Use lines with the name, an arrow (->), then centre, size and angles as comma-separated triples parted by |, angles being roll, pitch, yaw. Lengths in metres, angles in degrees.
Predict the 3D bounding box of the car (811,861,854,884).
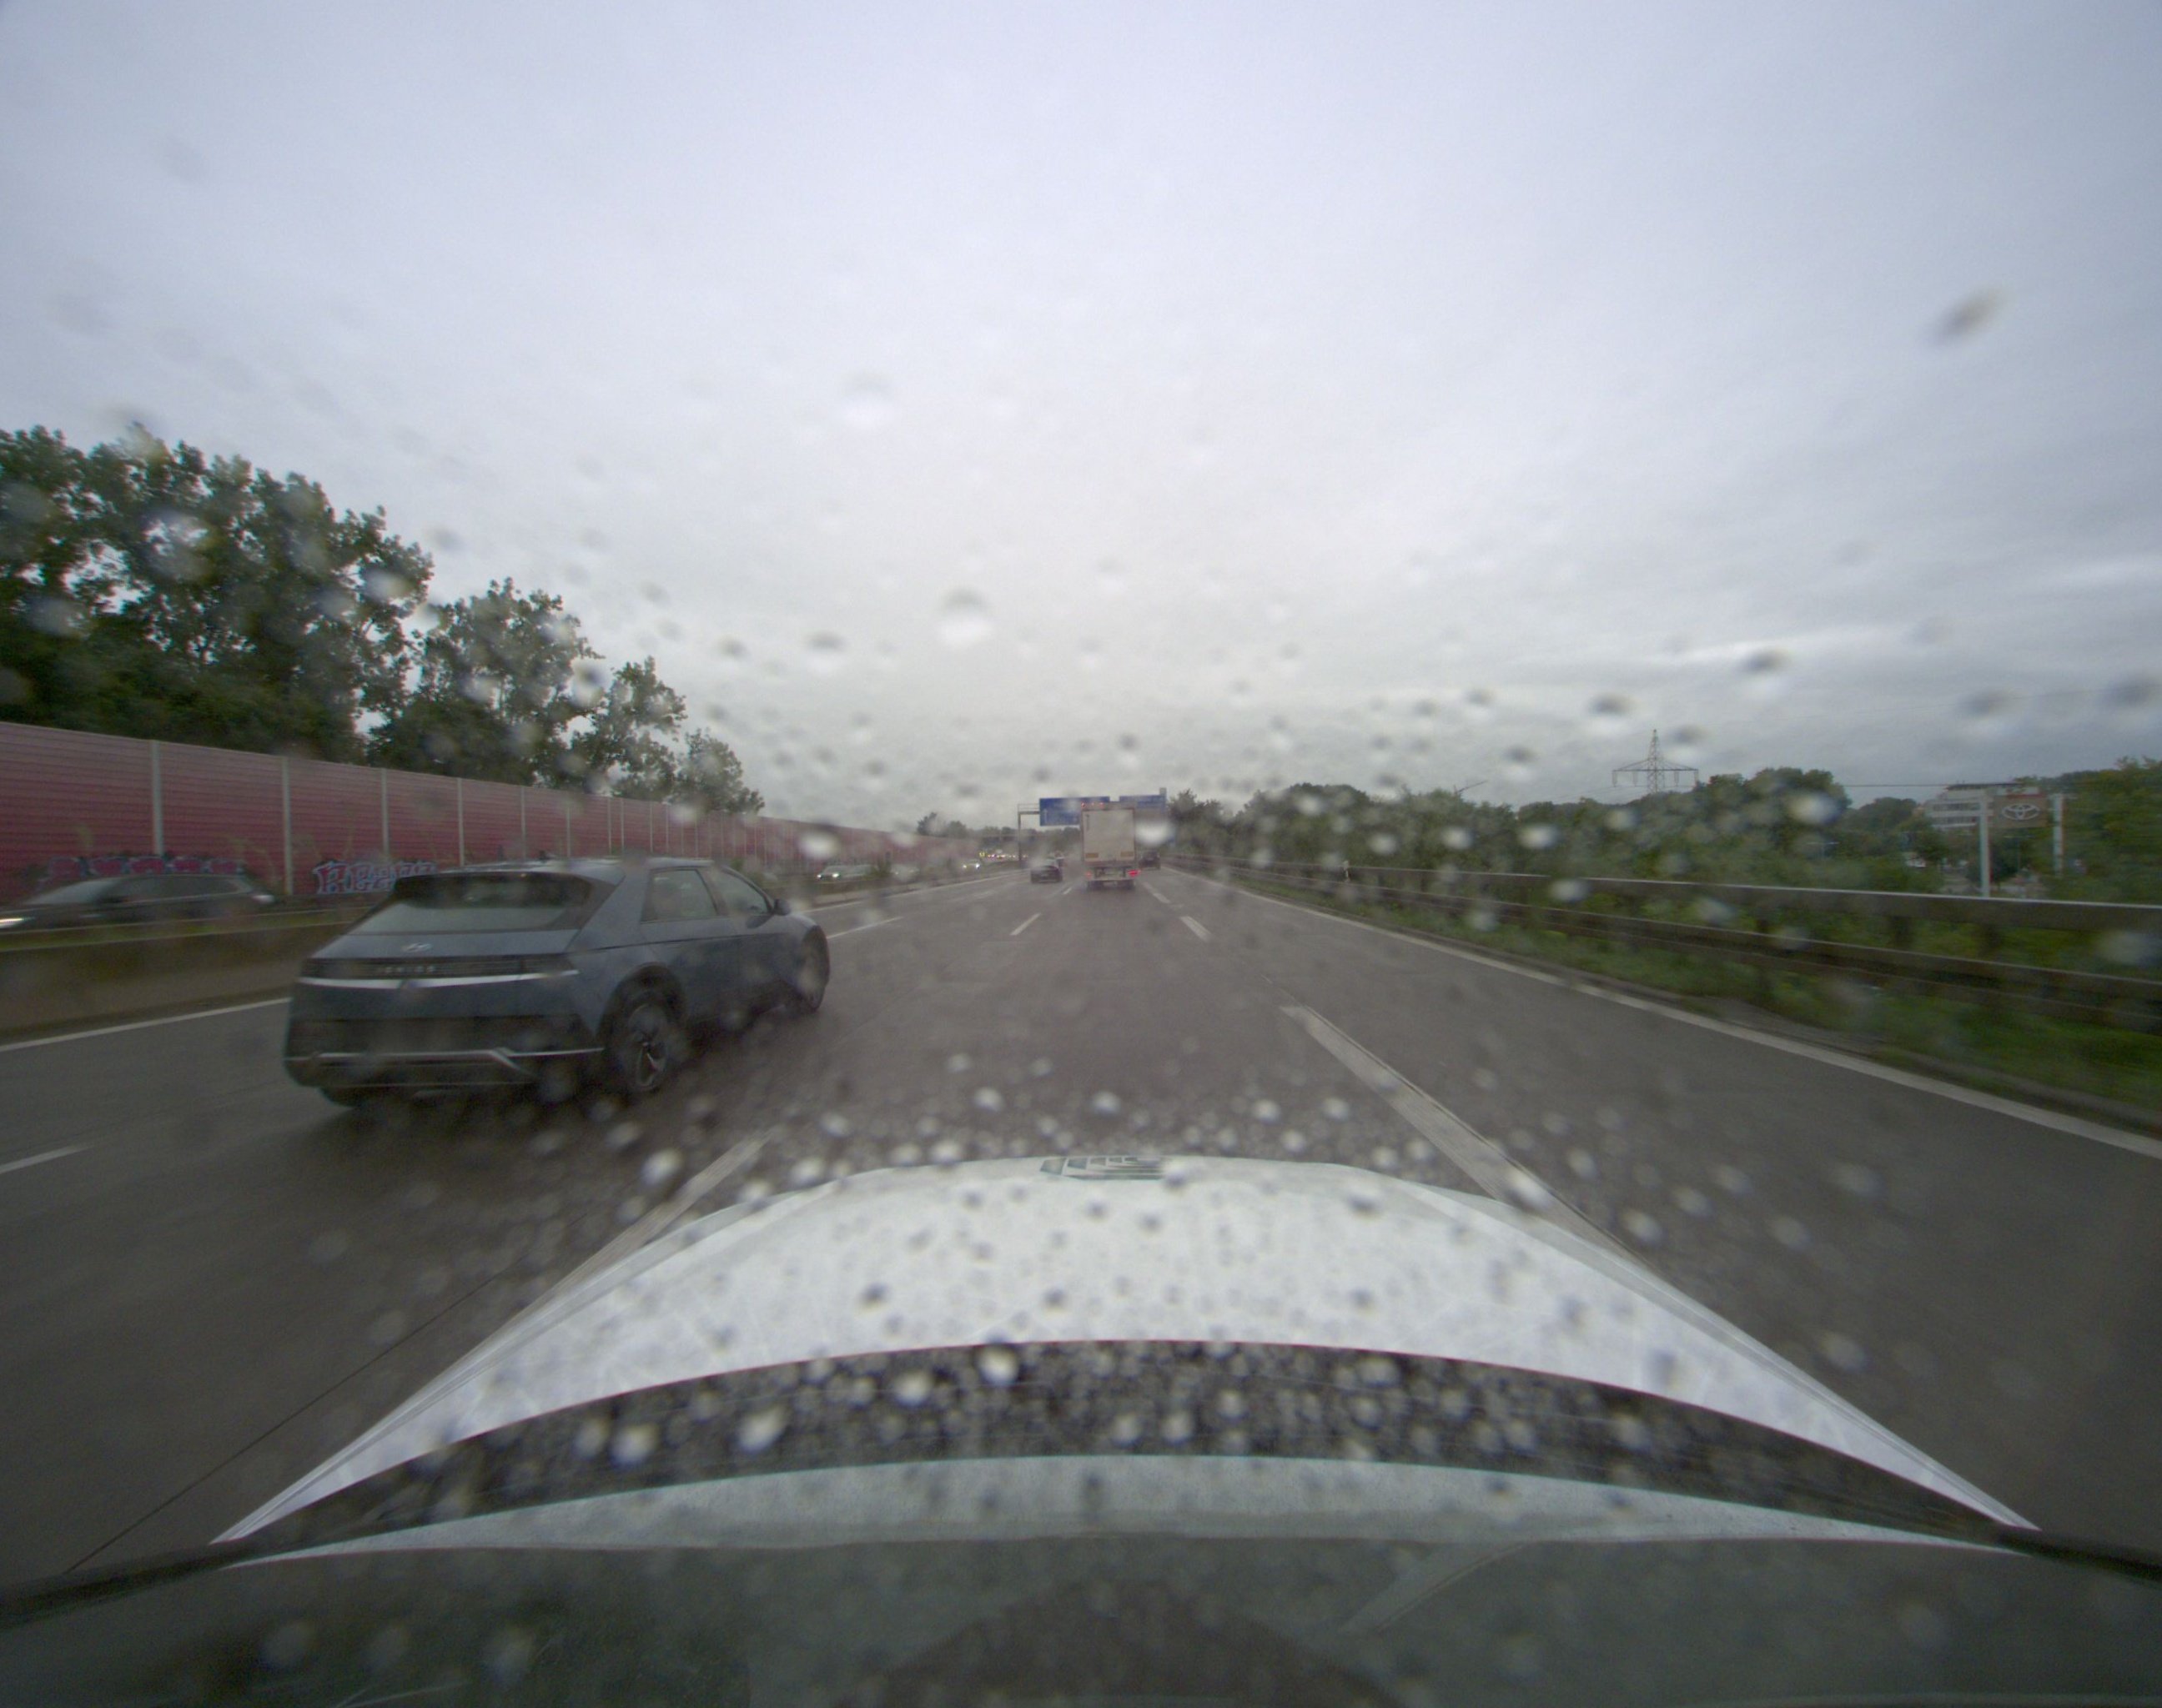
car -> -20.527, 1.507, 67.377 | 1.986, 1.648, 4.540 | -2, 0, 2

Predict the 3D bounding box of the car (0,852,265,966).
car -> -18.686, 0.916, 15.449 | 1.987, 1.859, 4.388 | -1, 0, -1

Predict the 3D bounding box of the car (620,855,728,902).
car -> -17.645, 0.998, 35.671 | 1.987, 1.859, 5.540 | -1, 0, -1

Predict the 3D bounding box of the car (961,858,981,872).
car -> -15.623, 1.546, 115.970 | 1.986, 2.013, 5.809 | 1, 0, 2

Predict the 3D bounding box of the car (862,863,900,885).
car -> -16.731, 1.647, 68.328 | 1.986, 1.724, 4.002 | -2, 0, 2

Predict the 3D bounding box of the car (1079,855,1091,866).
car -> 0.677, 1.061, 135.997 | 1.886, 1.723, 4.002 | 0, 0, 2

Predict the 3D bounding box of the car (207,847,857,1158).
car -> -3.600, 0.797, 6.851 | 1.831, 1.594, 5.158 | -1, 0, 2

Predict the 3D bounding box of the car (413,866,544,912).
car -> -25.180, 1.394, 34.279 | 1.986, 1.648, 4.540 | -2, 0, 2

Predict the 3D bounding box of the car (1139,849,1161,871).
car -> 6.174, 0.518, 73.033 | 1.889, 1.949, 4.004 | 1, 0, 4

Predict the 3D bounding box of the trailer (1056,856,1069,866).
trailer -> -3.116, 1.120, 137.542 | 1.808, 1.624, 4.571 | 0, 0, 2

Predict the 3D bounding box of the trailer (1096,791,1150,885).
trailer -> 2.204, -0.809, 43.435 | 2.333, 4.157, 14.837 | -1, 1, 3

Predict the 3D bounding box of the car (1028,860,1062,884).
car -> -2.236, 1.103, 51.180 | 1.718, 1.403, 4.831 | 0, 0, 2
